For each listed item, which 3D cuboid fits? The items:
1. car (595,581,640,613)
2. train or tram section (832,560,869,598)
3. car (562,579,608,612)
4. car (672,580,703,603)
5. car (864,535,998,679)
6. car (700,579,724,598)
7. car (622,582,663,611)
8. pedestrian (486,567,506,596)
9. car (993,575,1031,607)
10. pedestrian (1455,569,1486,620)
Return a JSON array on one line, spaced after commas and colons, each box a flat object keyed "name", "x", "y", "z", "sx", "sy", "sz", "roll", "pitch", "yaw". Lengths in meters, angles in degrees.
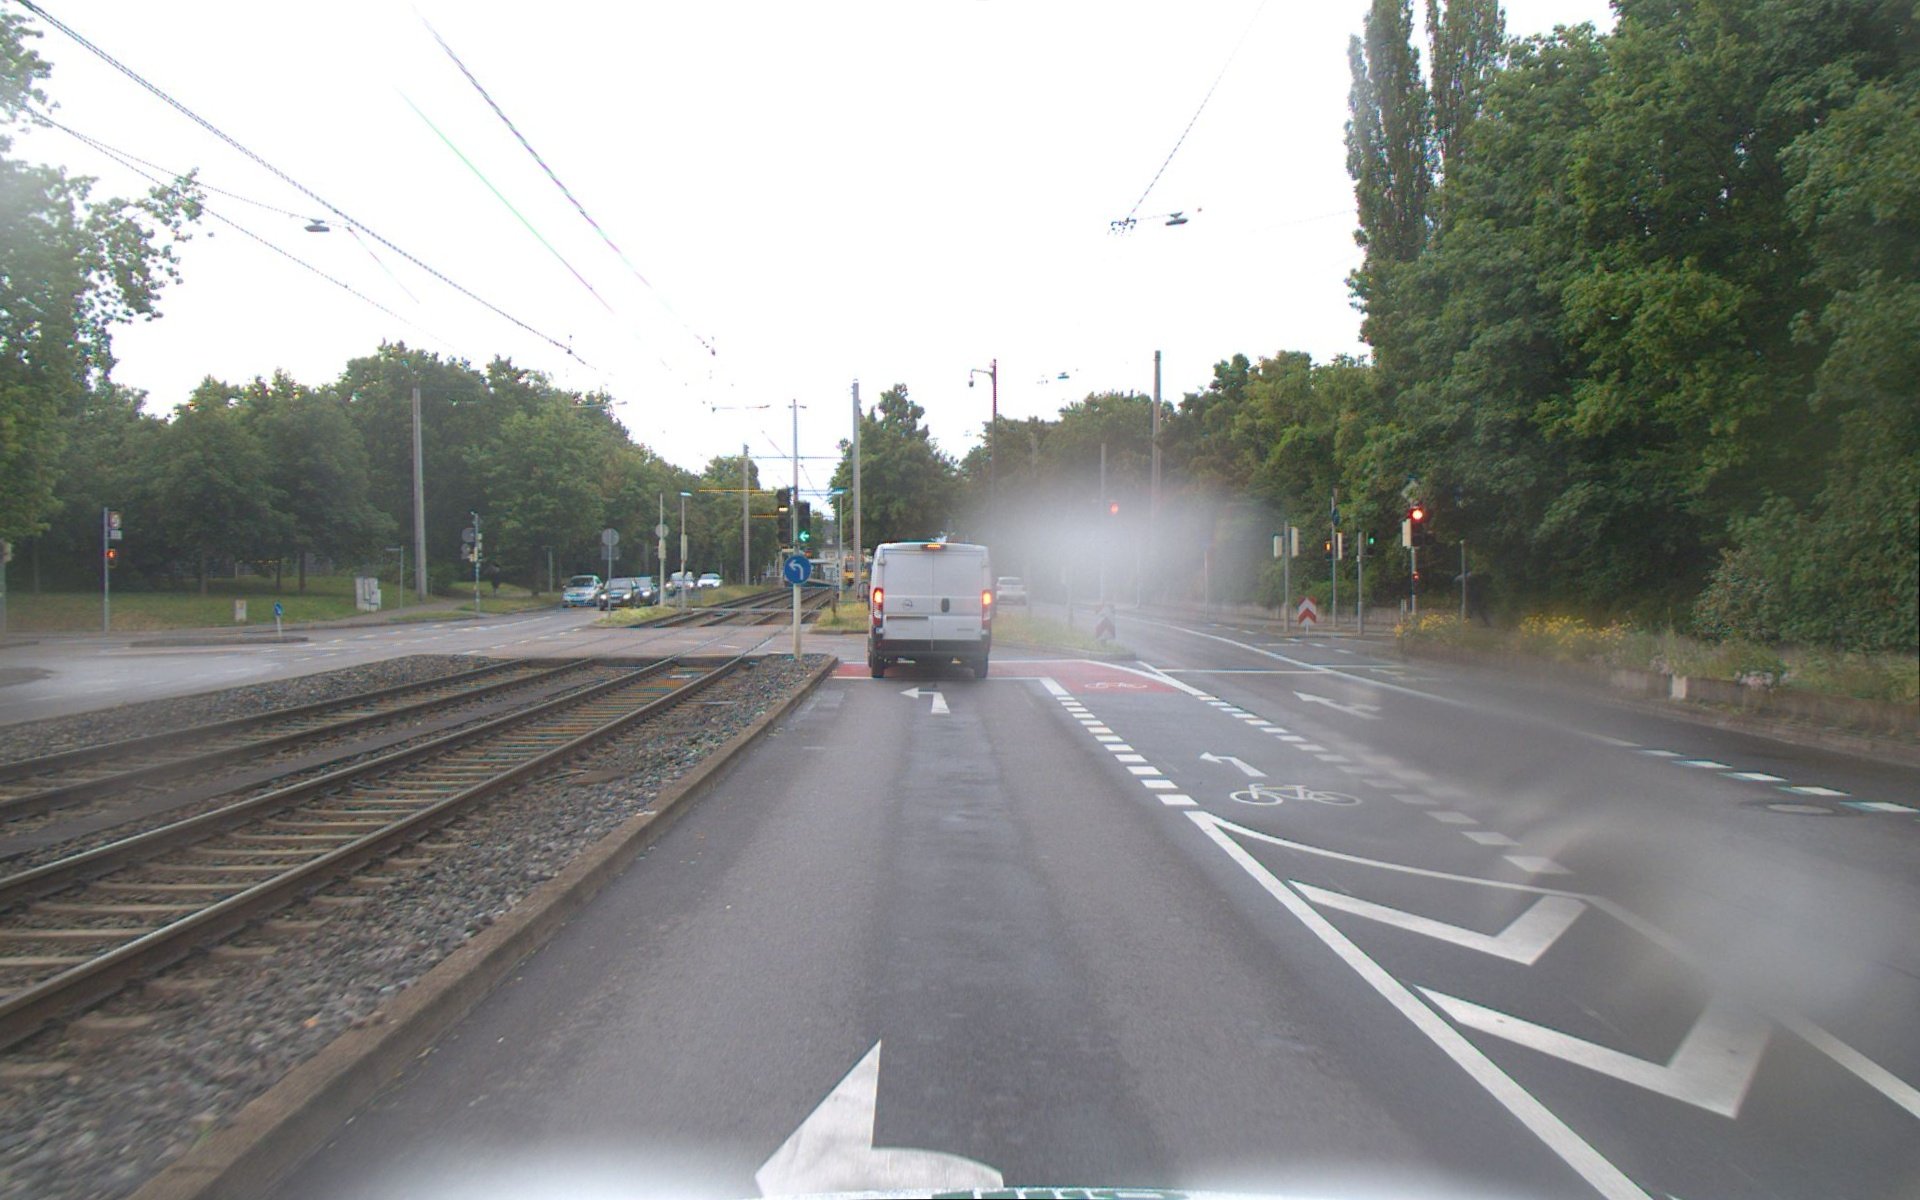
[{"name": "car", "x": -16.377, "y": -0.157, "z": 79.262, "sx": 1.569, "sy": 1.426, "sz": 3.789, "roll": 1, "pitch": 1, "yaw": -4}, {"name": "train or tram section", "x": -13.241, "y": -2.483, "z": 201.482, "sx": 3.978, "sy": 3.963, "sz": 15.031, "roll": 1, "pitch": -2, "yaw": -2}, {"name": "car", "x": -19.875, "y": -0.271, "z": 87.797, "sx": 1.685, "sy": 1.581, "sz": 3.860, "roll": -3, "pitch": 1, "yaw": -4}, {"name": "car", "x": -18.007, "y": -0.588, "z": 109.403, "sx": 1.569, "sy": 1.426, "sz": 3.789, "roll": 1, "pitch": 1, "yaw": -4}, {"name": "car", "x": -0.620, "y": 0.070, "z": 29.449, "sx": 2.104, "sy": 2.323, "sz": 5.059, "roll": 1, "pitch": 1, "yaw": -4}, {"name": "car", "x": -19.961, "y": -0.910, "z": 133.272, "sx": 1.569, "sy": 1.426, "sz": 3.789, "roll": 1, "pitch": 1, "yaw": -4}, {"name": "car", "x": -16.496, "y": -0.205, "z": 86.019, "sx": 1.569, "sy": 1.426, "sz": 3.789, "roll": 1, "pitch": 1, "yaw": -4}, {"name": "pedestrian", "x": -26.487, "y": -1.047, "z": 94.455, "sx": 0.994, "sy": 1.628, "sz": 1.038, "roll": 0, "pitch": 0, "yaw": -9}, {"name": "car", "x": 2.662, "y": -0.470, "z": 85.803, "sx": 1.669, "sy": 1.548, "sz": 3.790, "roll": 1, "pitch": 1, "yaw": -2}, {"name": "pedestrian", "x": 16.724, "y": -0.170, "z": 54.171, "sx": 0.791, "sy": 1.635, "sz": 0.683, "roll": 1, "pitch": -2, "yaw": -1}]
